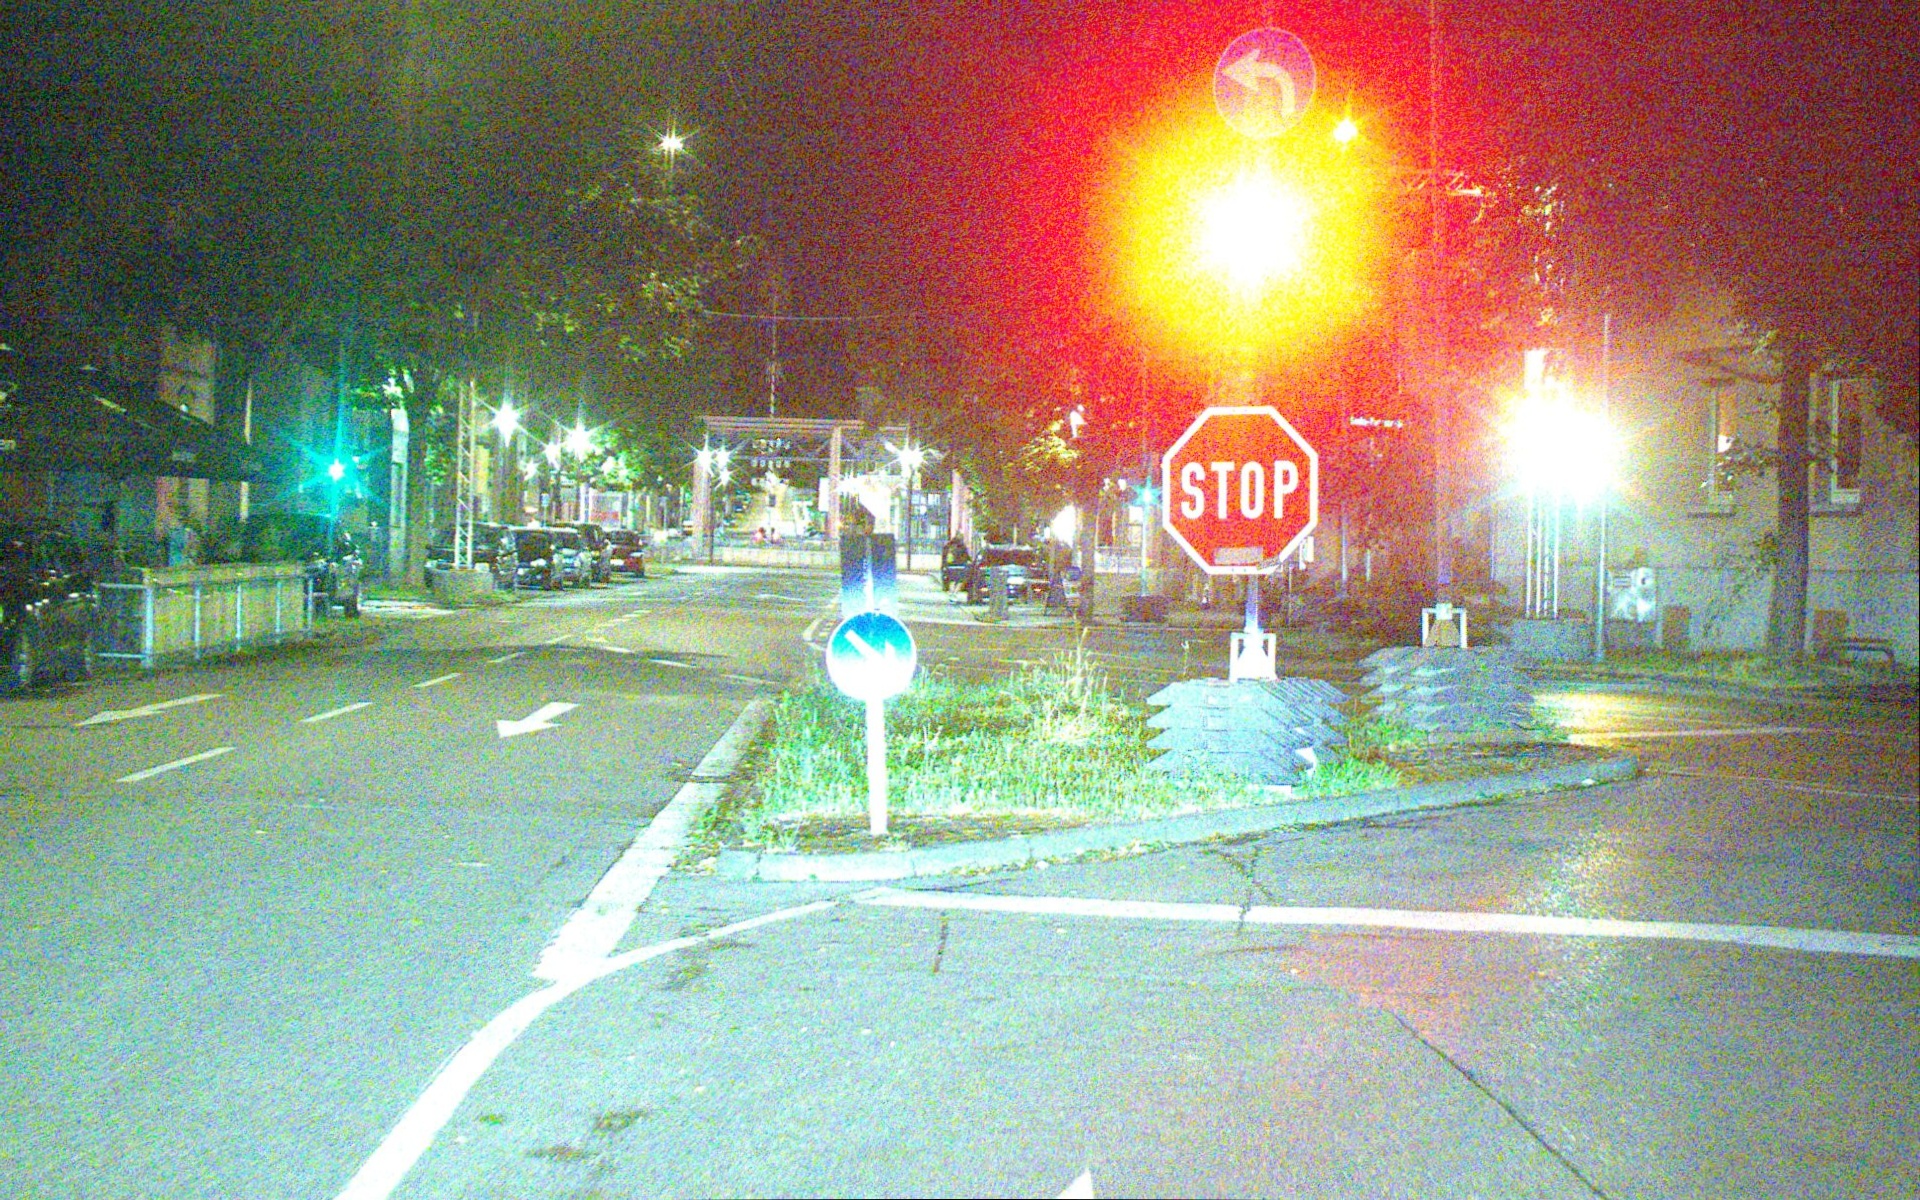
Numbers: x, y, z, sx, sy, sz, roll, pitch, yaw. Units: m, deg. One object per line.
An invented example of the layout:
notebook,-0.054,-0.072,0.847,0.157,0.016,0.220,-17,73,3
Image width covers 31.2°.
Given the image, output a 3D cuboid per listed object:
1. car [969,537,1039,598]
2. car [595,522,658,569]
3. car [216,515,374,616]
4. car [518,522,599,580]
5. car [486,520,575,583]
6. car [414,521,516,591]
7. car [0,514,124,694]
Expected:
car,1.049,-0.800,83.517,1.651,1.426,4.000,1,1,0
car,-10.401,-1.719,107.524,1.651,1.426,4.000,1,1,-1
car,-9.898,-0.529,51.404,1.651,1.426,4.000,1,1,-1
car,-10.132,-1.250,86.905,1.651,1.426,4.000,1,1,-1
car,-10.084,-1.142,80.894,1.651,1.426,4.000,1,1,-1
car,-10.467,-0.945,72.833,1.651,1.426,4.000,1,1,-1
car,-8.718,-0.019,30.223,1.803,1.476,4.323,1,1,-2
